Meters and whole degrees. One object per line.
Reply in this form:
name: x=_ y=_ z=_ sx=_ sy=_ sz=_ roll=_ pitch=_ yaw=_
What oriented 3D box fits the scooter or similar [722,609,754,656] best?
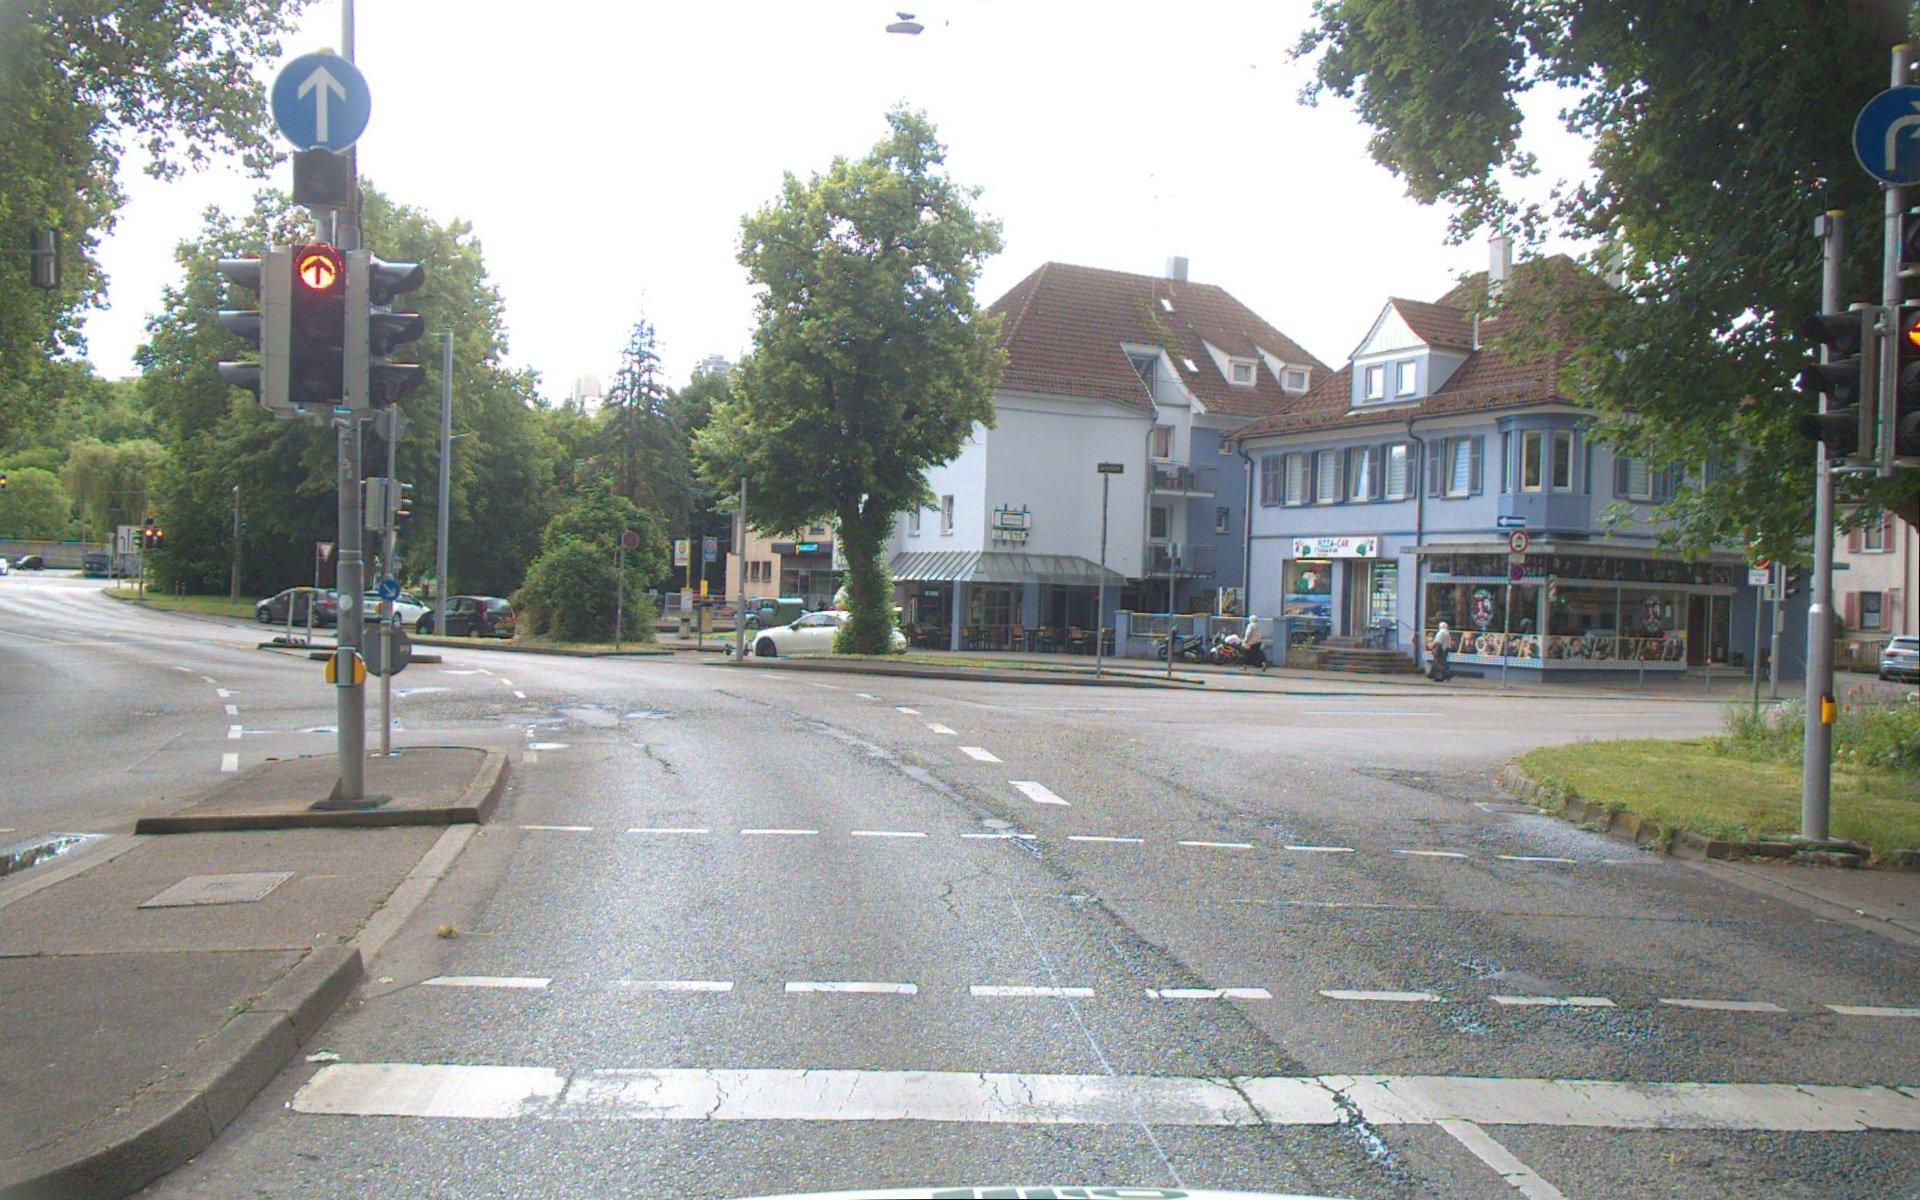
scooter or similar: x=-5.698 y=0.829 z=42.514 sx=0.433 sy=1.195 sz=1.439 roll=1 pitch=0 yaw=8

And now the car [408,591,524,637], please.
car: x=-15.909 y=0.445 z=53.270 sx=3.252 sy=1.376 sz=1.778 roll=1 pitch=0 yaw=27

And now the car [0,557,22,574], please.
car: x=-88.689 y=-3.223 z=153.853 sx=2.970 sy=1.442 sz=1.492 roll=0 pitch=-2 yaw=40

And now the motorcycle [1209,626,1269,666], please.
motorcycle: x=8.171 y=1.339 z=48.463 sx=1.595 sy=1.107 sz=0.625 roll=1 pitch=0 yaw=32

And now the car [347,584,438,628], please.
car: x=-22.726 y=0.255 z=66.412 sx=1.821 sy=1.668 sz=3.757 roll=1 pitch=0 yaw=10

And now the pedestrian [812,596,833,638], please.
pedestrian: x=-6.720 y=0.822 z=80.571 sx=0.823 sy=2.049 sz=1.052 roll=1 pitch=0 yaw=-15

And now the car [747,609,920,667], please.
car: x=-3.529 y=1.021 z=45.688 sx=4.618 sy=1.435 sz=1.896 roll=1 pitch=0 yaw=35

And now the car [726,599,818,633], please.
car: x=-8.573 y=0.730 z=75.485 sx=3.880 sy=1.467 sz=1.742 roll=1 pitch=0 yaw=-21

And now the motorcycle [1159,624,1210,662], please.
motorcycle: x=6.818 y=1.288 z=50.213 sx=1.430 sy=1.107 sz=0.522 roll=1 pitch=0 yaw=35

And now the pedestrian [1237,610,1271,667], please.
pedestrian: x=8.289 y=1.080 z=46.669 sx=0.717 sy=1.587 sz=0.767 roll=0 pitch=-1 yaw=30

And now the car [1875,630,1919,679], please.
car: x=29.702 y=1.689 z=51.689 sx=1.849 sy=1.415 sz=3.608 roll=1 pitch=0 yaw=28

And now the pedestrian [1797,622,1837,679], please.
pedestrian: x=24.034 y=1.410 z=46.407 sx=0.659 sy=1.587 sz=0.743 roll=1 pitch=-1 yaw=-15

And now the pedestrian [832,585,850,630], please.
pedestrian: x=-4.261 y=0.269 z=59.154 sx=0.531 sy=1.587 sz=0.468 roll=0 pitch=-1 yaw=13

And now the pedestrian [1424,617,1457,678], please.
pedestrian: x=12.648 y=1.240 z=43.490 sx=0.681 sy=1.587 sz=0.665 roll=0 pitch=-1 yaw=30

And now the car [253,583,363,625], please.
car: x=-25.001 y=0.150 z=63.430 sx=3.695 sy=1.491 sz=1.622 roll=1 pitch=0 yaw=18
